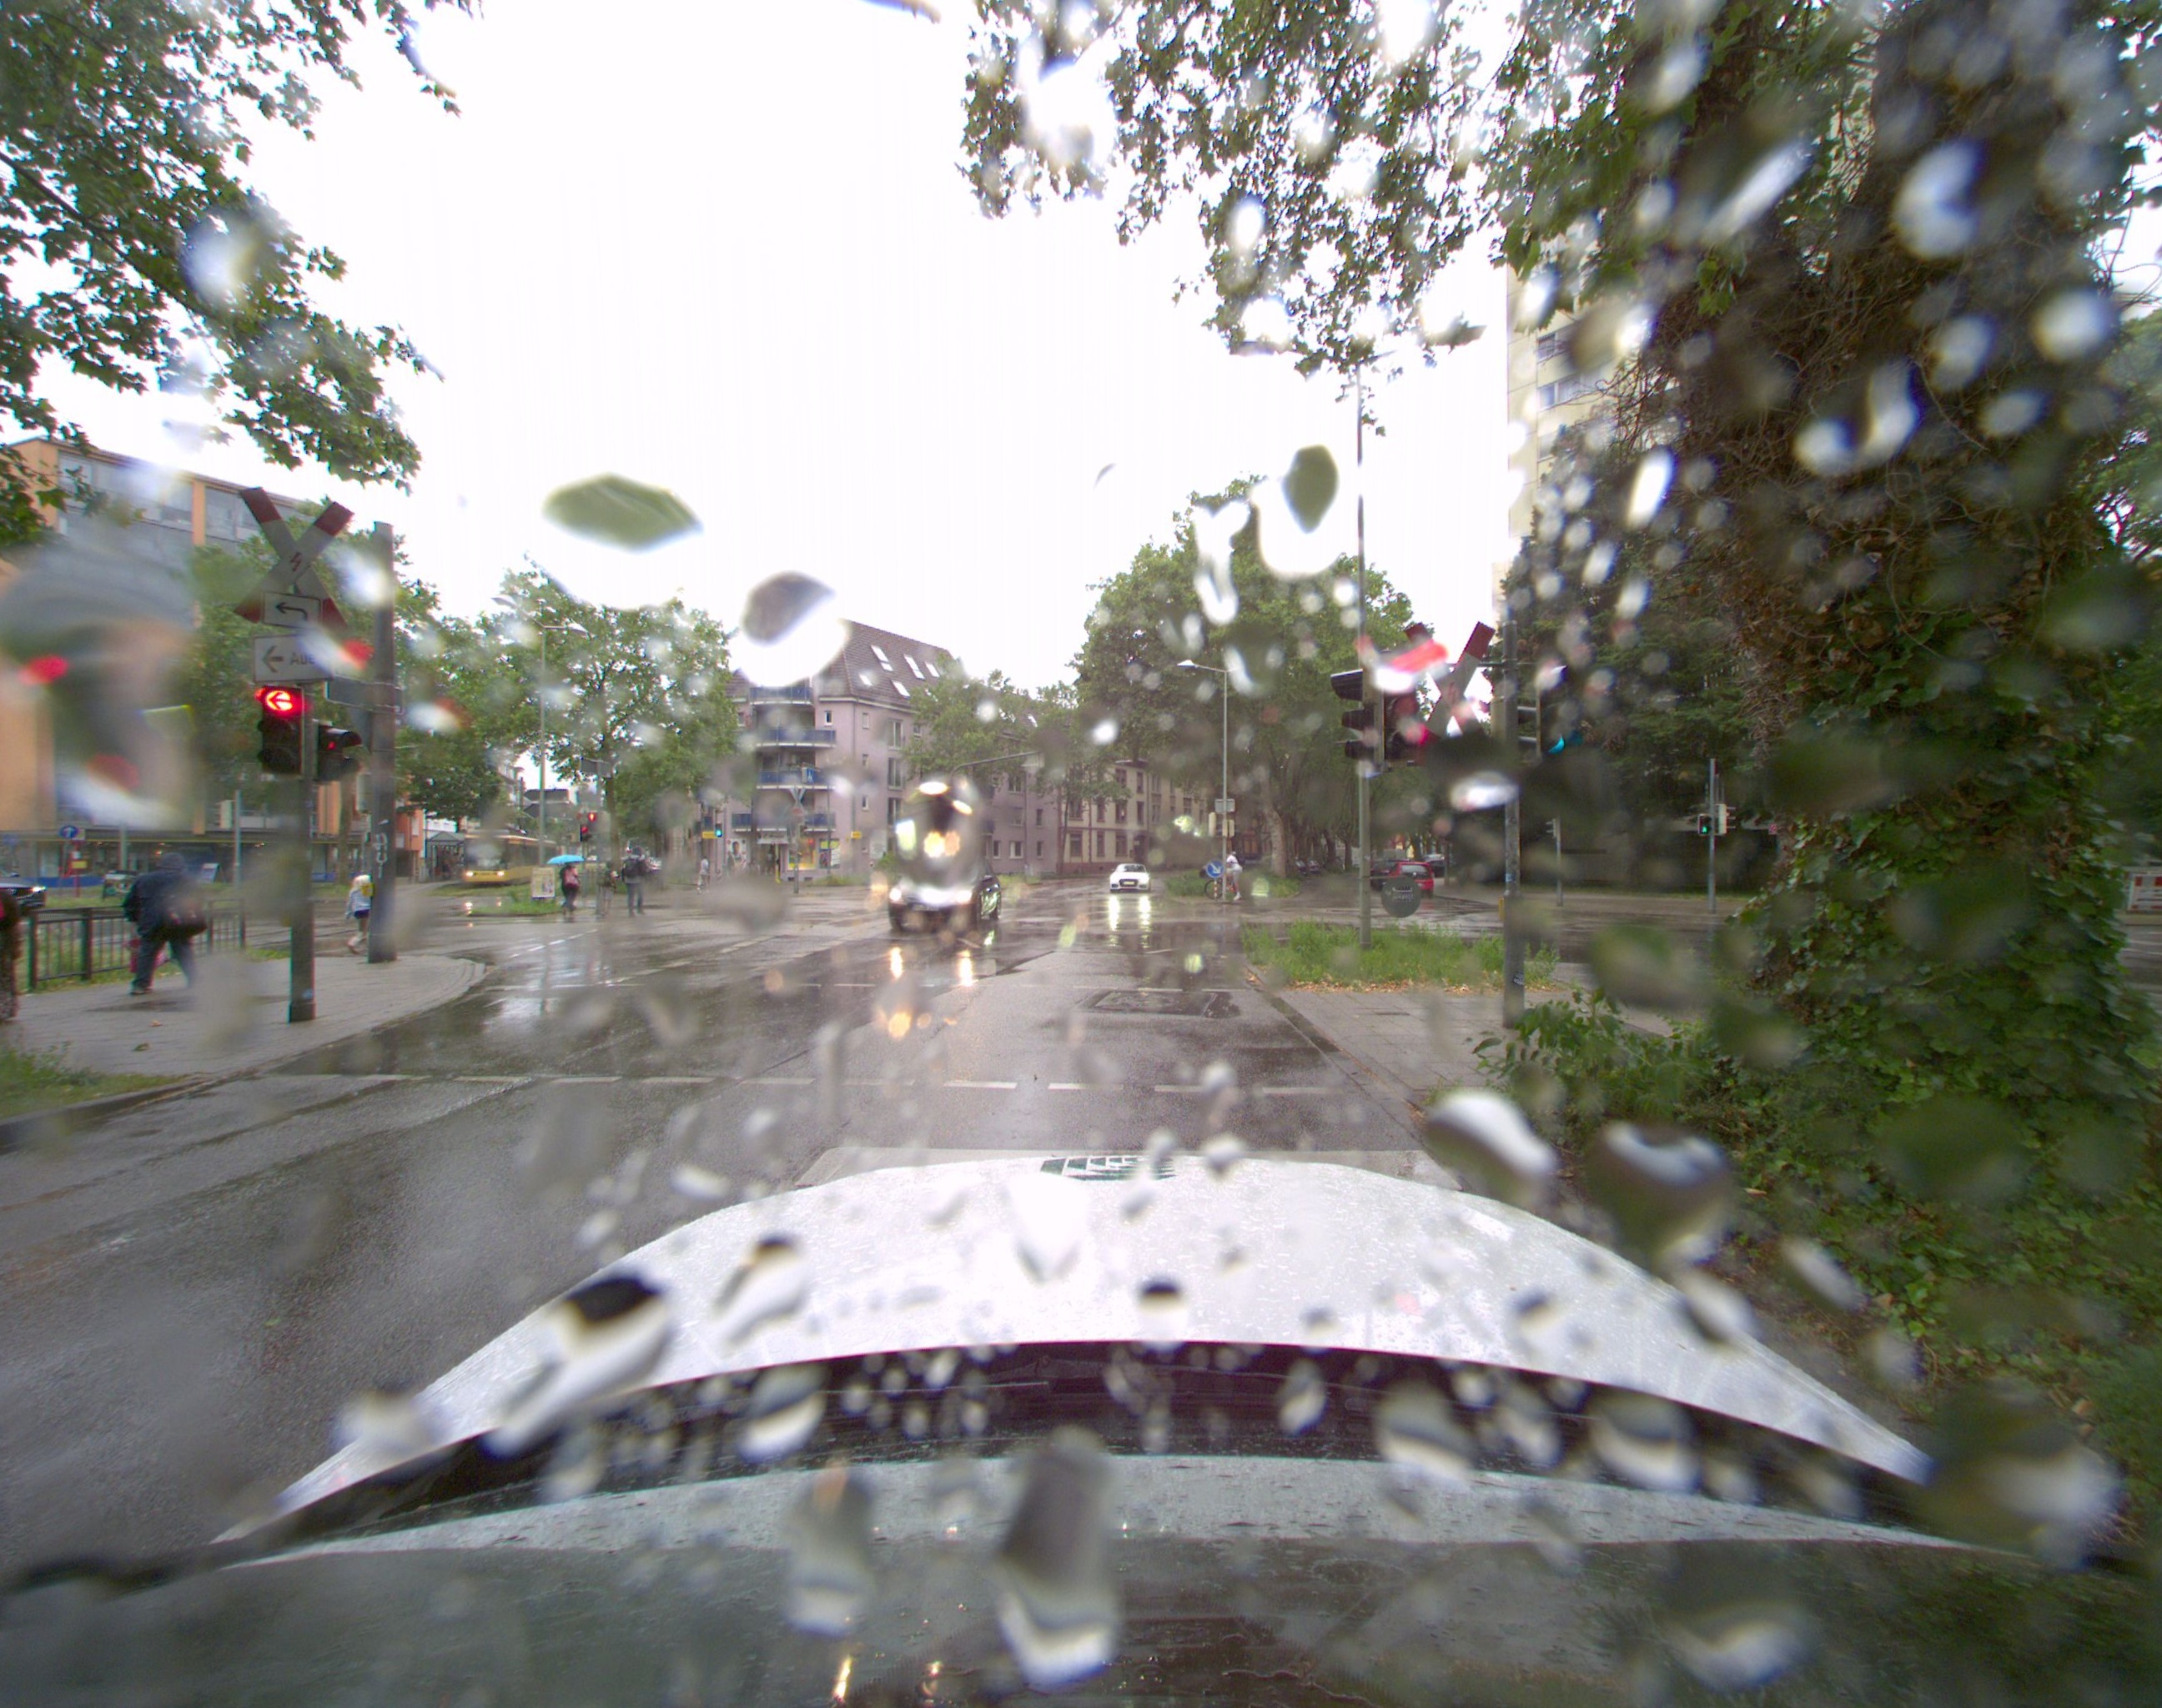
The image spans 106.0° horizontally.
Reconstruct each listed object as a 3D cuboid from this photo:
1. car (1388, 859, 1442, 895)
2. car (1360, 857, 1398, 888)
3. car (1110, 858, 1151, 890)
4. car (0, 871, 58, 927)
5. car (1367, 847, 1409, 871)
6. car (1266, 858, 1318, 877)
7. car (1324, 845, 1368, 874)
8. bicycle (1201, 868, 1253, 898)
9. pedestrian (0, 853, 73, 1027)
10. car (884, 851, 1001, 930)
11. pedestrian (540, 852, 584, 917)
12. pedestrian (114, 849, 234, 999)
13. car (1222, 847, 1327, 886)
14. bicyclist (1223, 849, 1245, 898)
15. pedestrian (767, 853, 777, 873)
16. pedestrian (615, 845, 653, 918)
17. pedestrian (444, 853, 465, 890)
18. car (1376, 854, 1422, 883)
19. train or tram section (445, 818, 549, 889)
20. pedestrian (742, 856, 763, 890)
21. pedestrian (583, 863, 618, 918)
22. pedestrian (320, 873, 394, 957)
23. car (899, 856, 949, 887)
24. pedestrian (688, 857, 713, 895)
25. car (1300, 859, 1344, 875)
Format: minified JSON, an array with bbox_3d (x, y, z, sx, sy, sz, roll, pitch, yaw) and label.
[{"bbox_3d":[14.829,0.980,36.335,1.778,1.498,4.017,0,0,16],"label":"car"},{"bbox_3d":[17.328,1.062,47.427,1.769,1.727,4.017,-1,-1,16],"label":"car"},{"bbox_3d":[2.418,0.936,39.218,1.876,1.436,4.004,0,0,4],"label":"car"},{"bbox_3d":[-32.223,1.291,23.558,3.994,1.530,1.615,0,1,12],"label":"car"},{"bbox_3d":[38.990,0.638,103.570,2.006,2.948,4.726,0,-1,-29],"label":"car"},{"bbox_3d":[16.909,1.092,65.200,3.958,1.486,2.008,-1,-1,14],"label":"car"},{"bbox_3d":[28.324,0.586,87.218,2.040,2.948,4.742,0,-1,-18],"label":"car"},{"bbox_3d":[5.450,1.069,30.401,1.862,1.081,0.658,-1,-1,9],"label":"bicycle"},{"bbox_3d":[-10.580,0.821,7.815,0.728,1.624,0.816,-1,1,-5],"label":"pedestrian"},{"bbox_3d":[-2.767,0.698,17.050,1.708,1.459,3.748,0,-1,1],"label":"car"},{"bbox_3d":[-14.479,0.823,22.736,0.962,1.766,0.944,0,-1,-28],"label":"pedestrian"},{"bbox_3d":[-10.937,0.801,9.859,0.844,1.698,0.680,-3,2,-42],"label":"pedestrian"},{"bbox_3d":[7.756,0.518,32.663,3.958,1.486,2.008,-1,-1,14],"label":"car"},{"bbox_3d":[5.694,0.714,30.367,0.790,1.786,0.699,-1,-1,9],"label":"bicyclist"},{"bbox_3d":[-20.939,0.592,55.141,0.560,1.329,0.443,0,-1,-13],"label":"pedestrian"},{"bbox_3d":[-11.638,0.707,21.223,0.791,1.855,0.676,0,0,-22],"label":"pedestrian"},{"bbox_3d":[-37.685,1.038,49.004,0.889,2.151,0.902,0,-1,-30],"label":"pedestrian"},{"bbox_3d":[15.897,0.695,40.871,1.770,1.348,3.945,0,1,16],"label":"car"},{"bbox_3d":[-36.330,0.072,51.397,2.897,3.768,17.089,0,-1,-28],"label":"train or tram section"},{"bbox_3d":[-15.395,0.886,38.174,0.749,1.533,0.789,0,-1,-9],"label":"pedestrian"},{"bbox_3d":[-12.420,0.928,21.068,0.651,1.396,0.777,0,0,-21],"label":"pedestrian"},{"bbox_3d":[-12.126,1.002,13.661,0.657,1.349,0.706,0,0,-12],"label":"pedestrian"},{"bbox_3d":[-8.004,0.854,41.841,1.745,1.512,3.839,0,0,1],"label":"car"},{"bbox_3d":[-16.683,0.954,35.753,0.672,1.600,0.966,0,-1,-4],"label":"pedestrian"},{"bbox_3d":[23.139,1.252,78.262,3.958,1.547,2.008,-1,-1,14],"label":"car"}]
